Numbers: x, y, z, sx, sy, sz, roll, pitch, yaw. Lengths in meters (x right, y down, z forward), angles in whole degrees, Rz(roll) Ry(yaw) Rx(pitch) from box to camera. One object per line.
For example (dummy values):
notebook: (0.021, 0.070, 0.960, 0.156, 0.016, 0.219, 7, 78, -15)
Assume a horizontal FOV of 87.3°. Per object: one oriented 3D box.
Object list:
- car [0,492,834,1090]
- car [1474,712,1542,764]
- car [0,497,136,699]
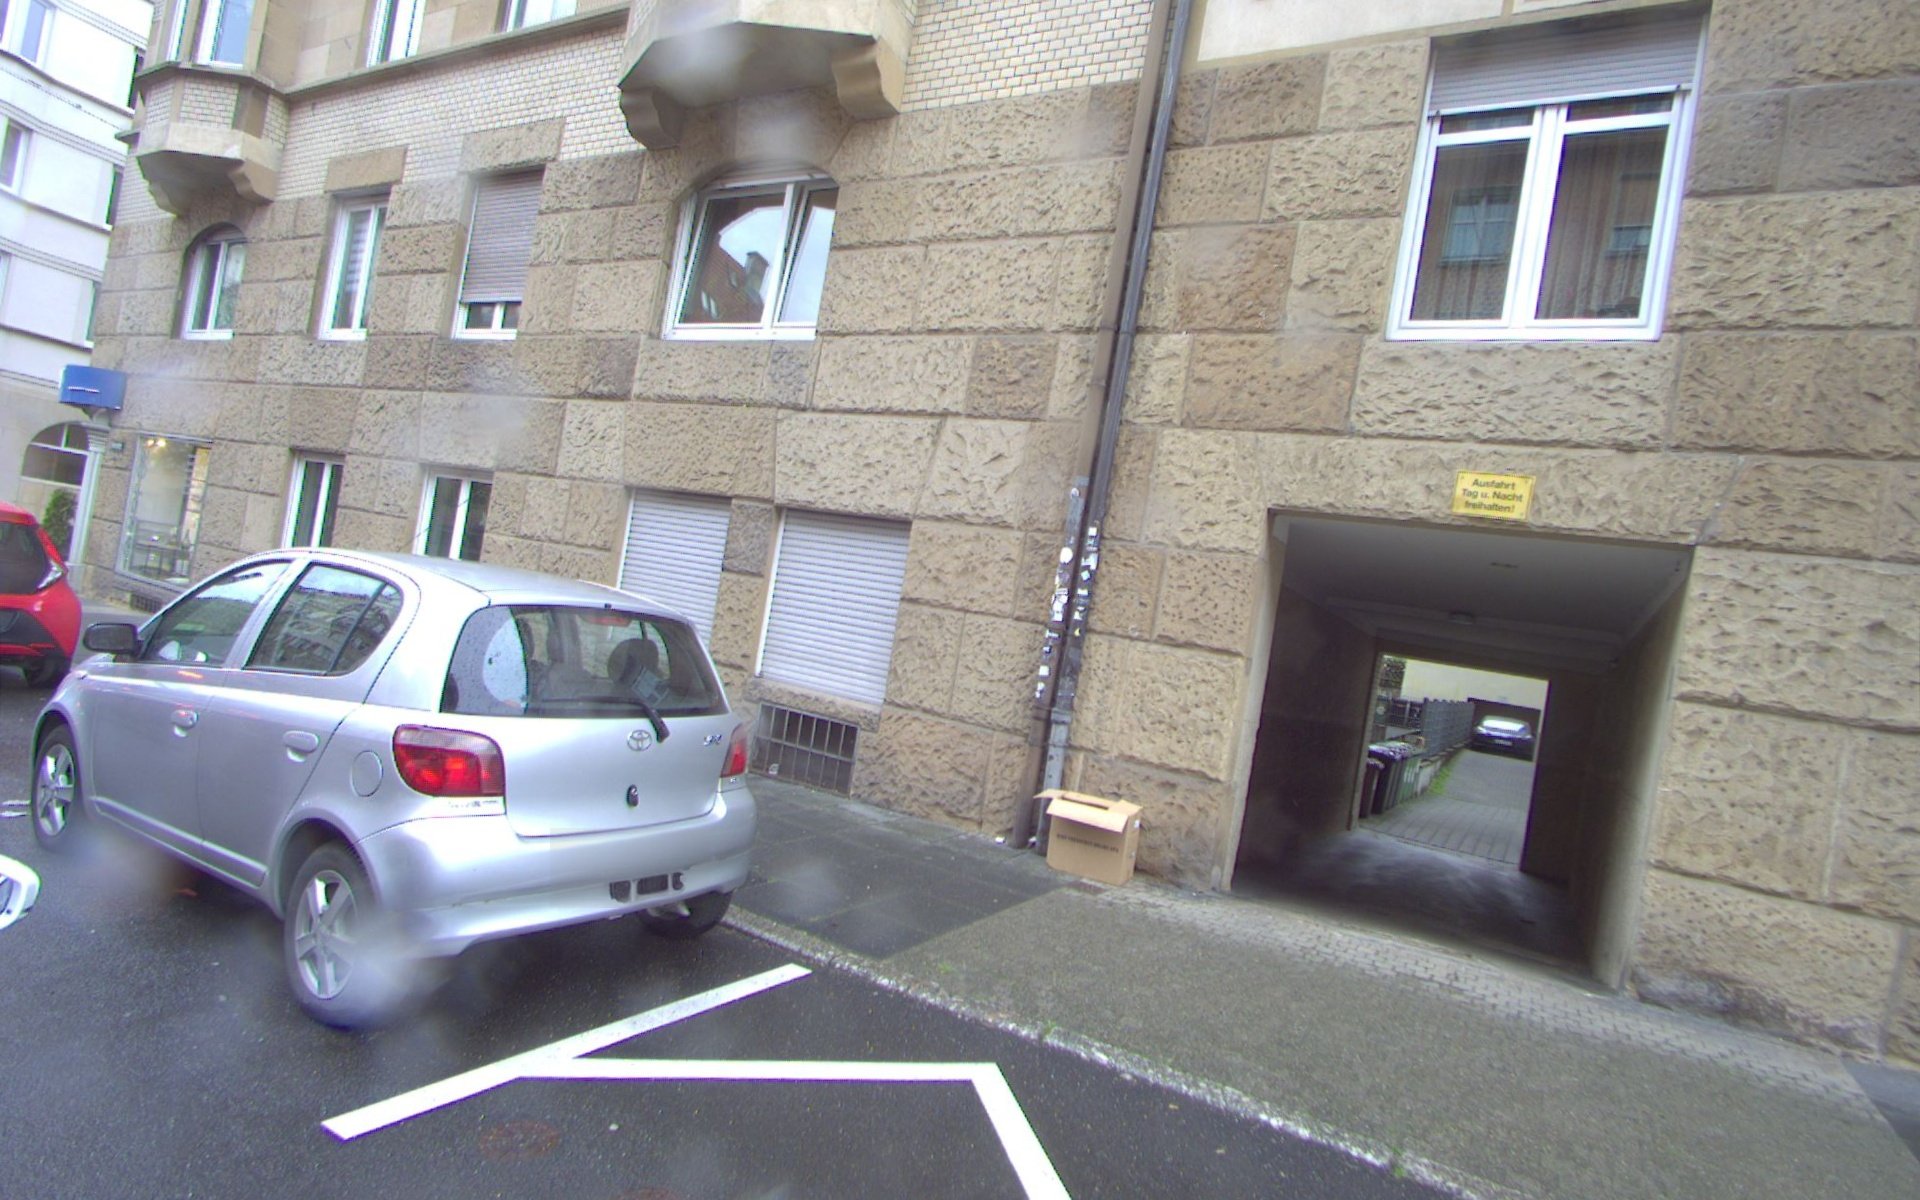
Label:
car: (-2.476, 0.499, 4.362, 3.464, 1.504, 1.597, 7, -1, 32)
car: (18.403, 4.584, 33.866, 1.764, 1.362, 4.015, 6, -2, 28)
car: (-8.673, -0.211, 8.225, 3.472, 1.469, 1.711, 7, -3, 29)
